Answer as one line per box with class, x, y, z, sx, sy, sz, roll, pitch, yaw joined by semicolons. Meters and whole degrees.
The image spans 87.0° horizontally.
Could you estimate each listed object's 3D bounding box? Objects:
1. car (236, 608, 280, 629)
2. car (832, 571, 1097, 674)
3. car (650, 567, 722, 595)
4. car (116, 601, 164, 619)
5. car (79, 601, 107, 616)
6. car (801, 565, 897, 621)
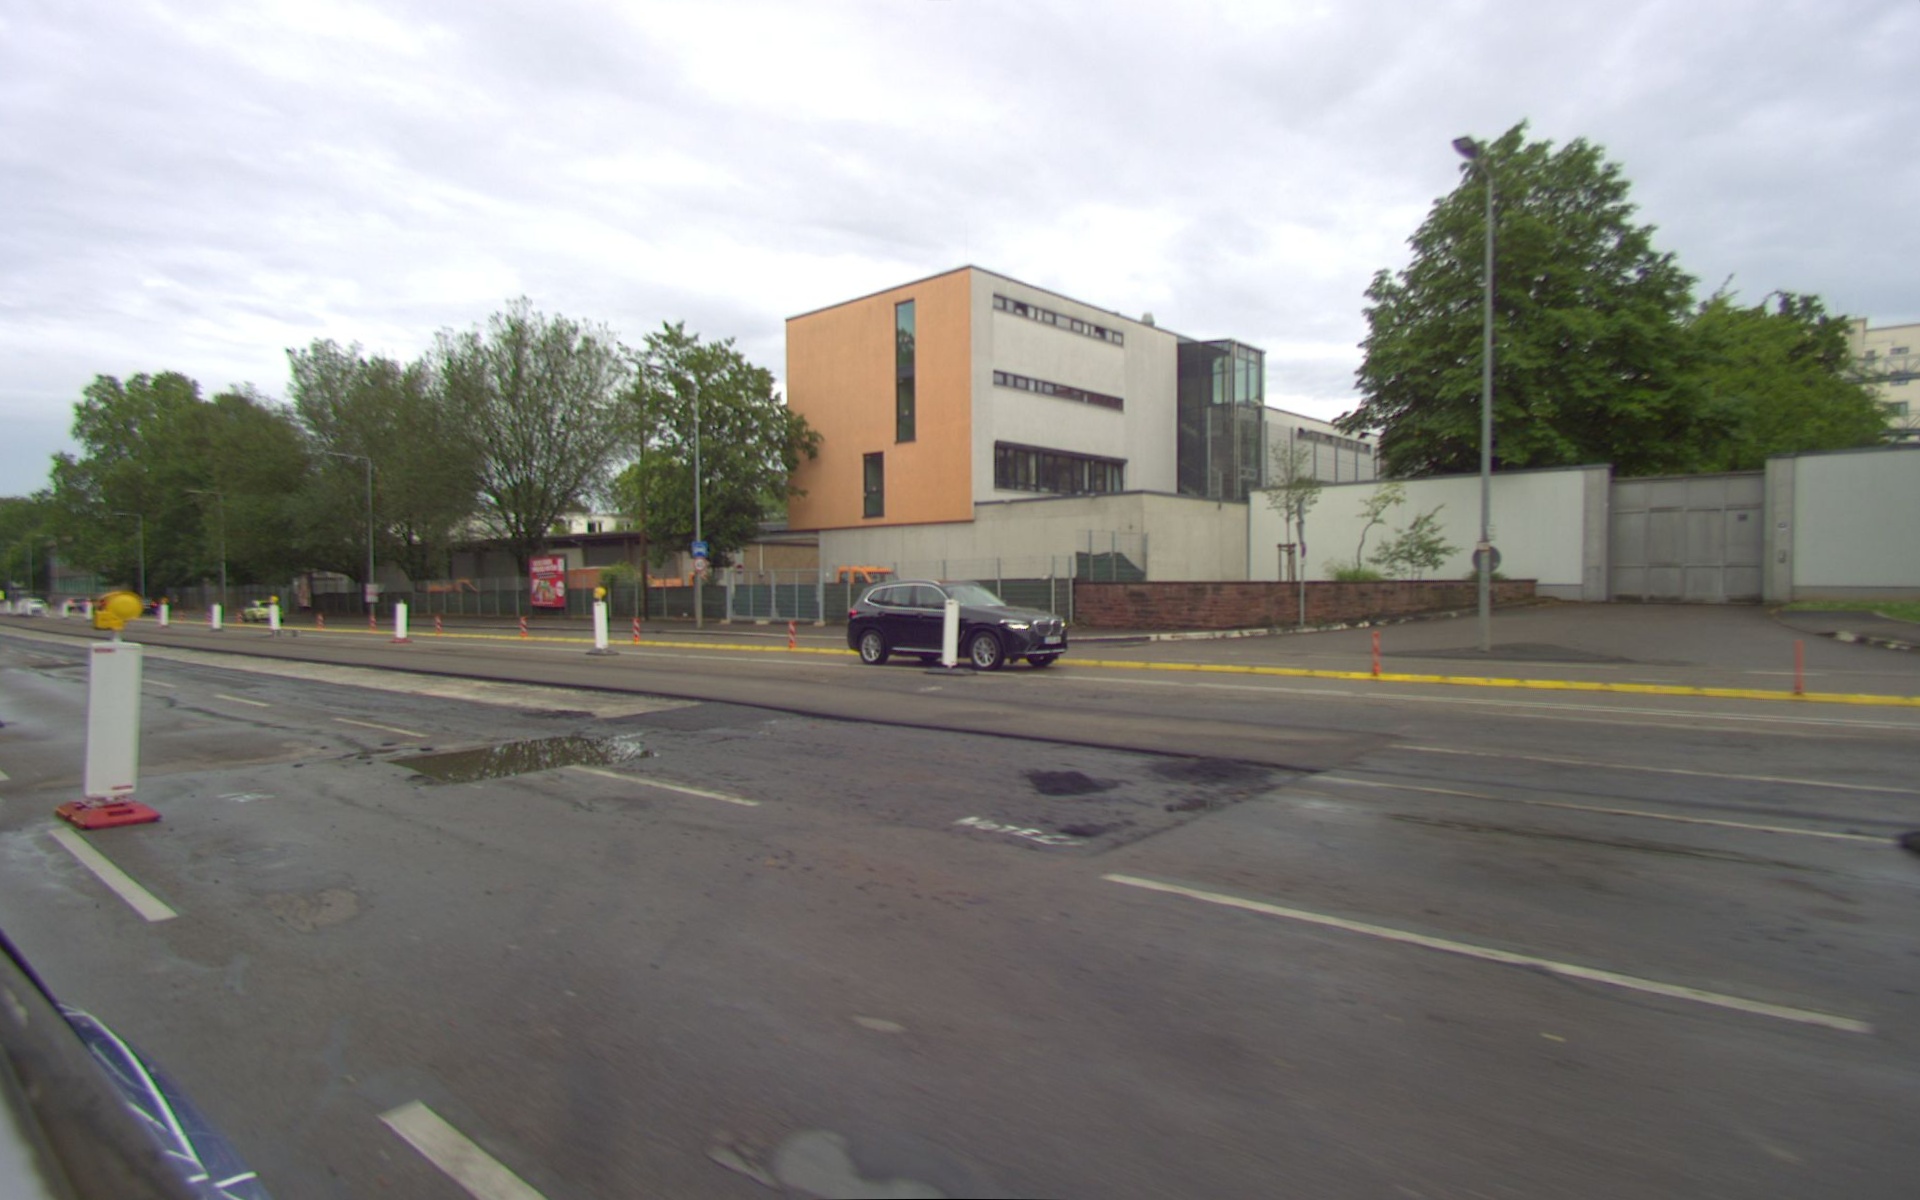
car;-47.518;1.220;68.495;3.803;1.378;1.537;-1;-1;41
car;-0.034;0.423;19.360;4.980;1.719;1.973;-1;-1;40
car;-16.082;-1.104;59.572;3.958;1.539;2.005;-1;1;-10
car;-77.398;0.965;95.512;4.304;1.642;1.849;0;-1;25
car;-96.222;0.964;112.315;4.364;1.631;1.839;0;-1;42
car;-4.596;-0.265;41.587;3.997;2.186;1.593;-1;1;41
